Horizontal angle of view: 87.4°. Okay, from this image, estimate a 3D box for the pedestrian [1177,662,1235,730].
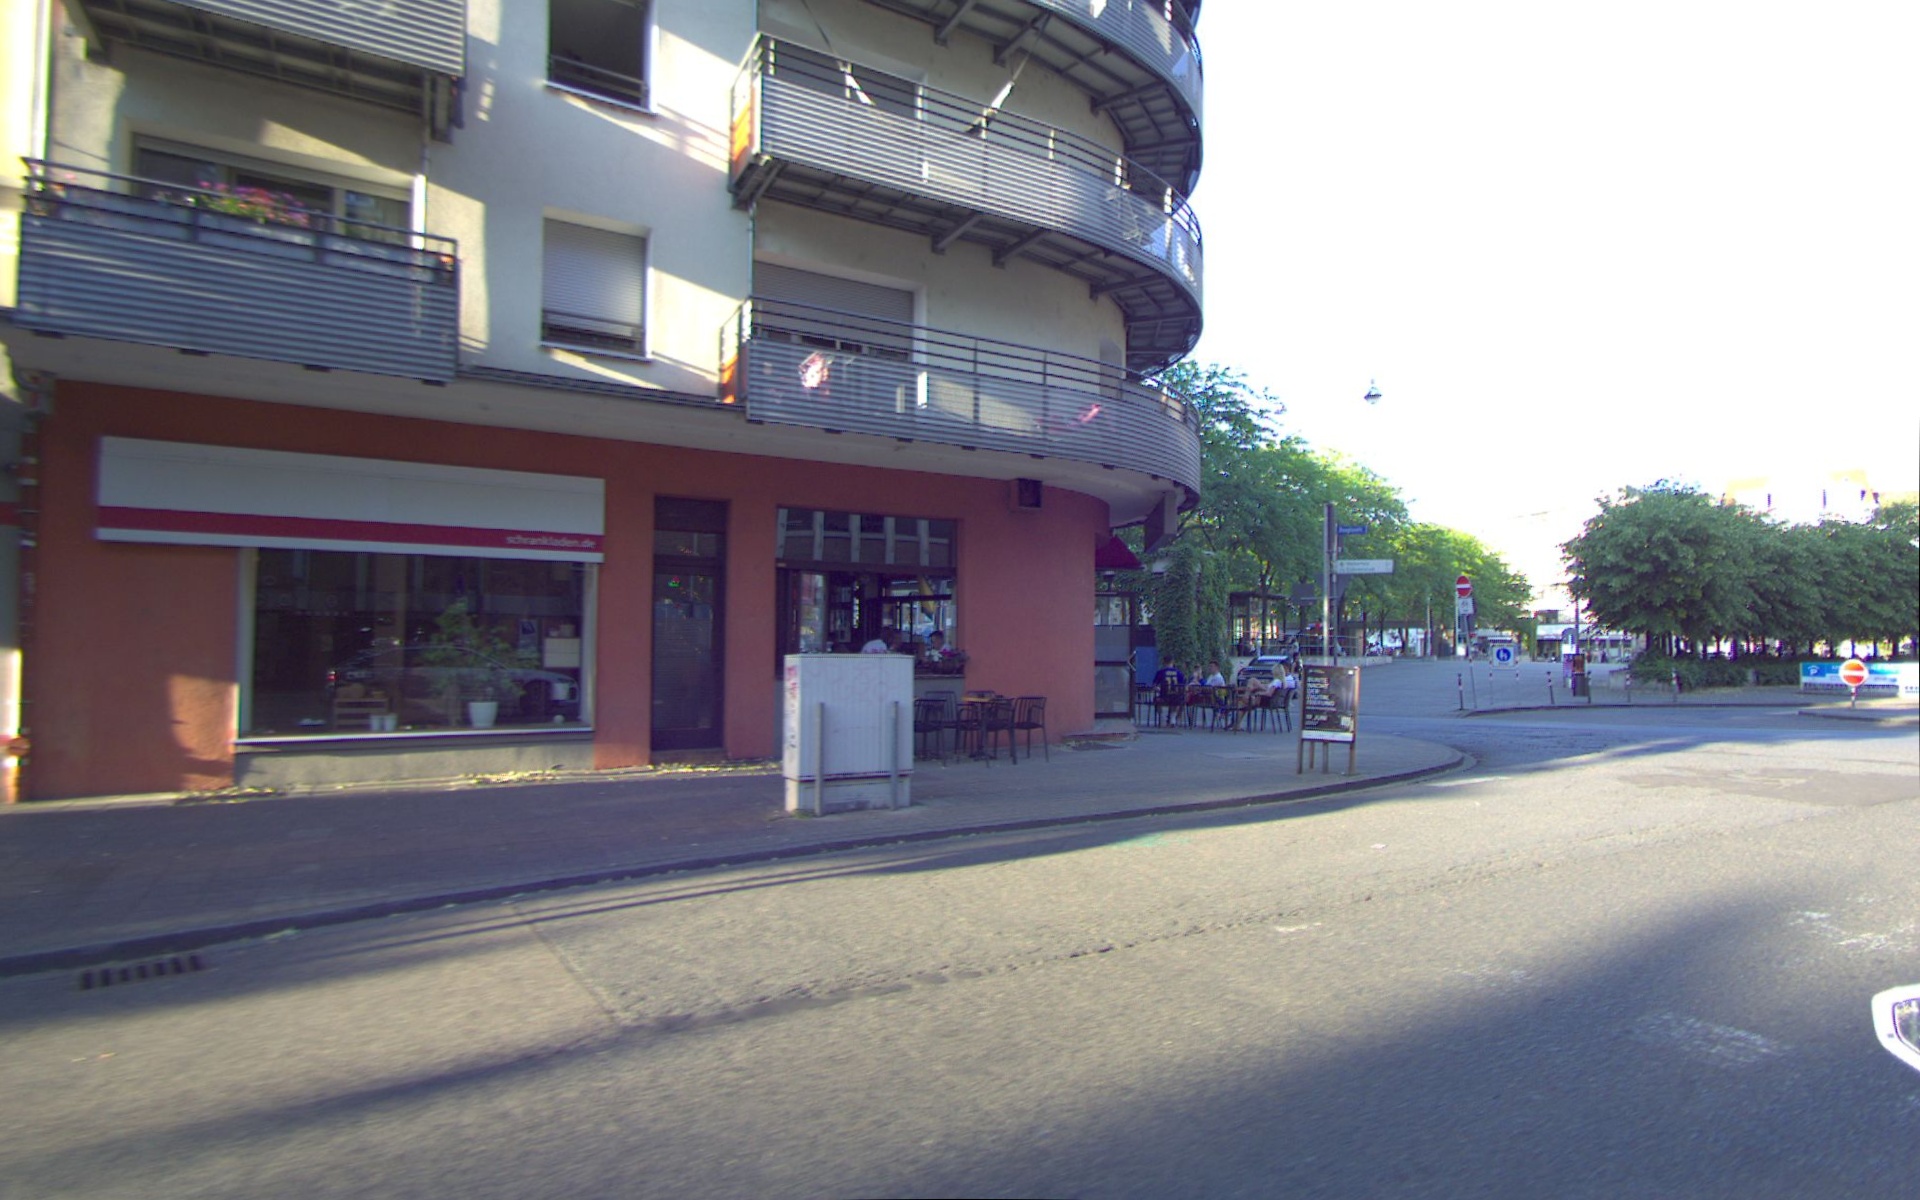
[{"bbox_3d":[4.739,1.835,19.366,0.821,1.263,0.717,4,-4,-36],"label":"pedestrian"}]

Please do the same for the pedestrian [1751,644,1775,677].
[{"bbox_3d":[40.070,3.027,50.123,0.558,1.616,0.791,1,-2,-10],"label":"pedestrian"}]

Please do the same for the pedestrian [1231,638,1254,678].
[{"bbox_3d":[11.617,2.396,41.344,0.679,1.607,0.767,-1,-4,37],"label":"pedestrian"}]

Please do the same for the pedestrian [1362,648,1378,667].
[{"bbox_3d":[23.302,3.261,57.059,0.704,1.072,0.609,-1,-3,36],"label":"pedestrian"}]

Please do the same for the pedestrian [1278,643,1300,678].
[{"bbox_3d":[15.037,2.761,45.900,0.778,1.607,0.652,-1,-4,36],"label":"pedestrian"}]

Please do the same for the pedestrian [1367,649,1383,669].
[{"bbox_3d":[23.853,3.385,57.767,0.704,1.134,0.609,-1,-3,36],"label":"pedestrian"}]

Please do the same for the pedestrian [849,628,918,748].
[{"bbox_3d":[-1.064,1.217,13.951,0.741,1.615,0.594,3,-4,-28],"label":"pedestrian"}]

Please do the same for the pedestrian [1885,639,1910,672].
[{"bbox_3d":[47.379,2.799,50.773,0.665,1.616,0.678,1,-2,-10],"label":"pedestrian"}]

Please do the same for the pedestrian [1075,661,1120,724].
[{"bbox_3d":[2.862,1.910,20.875,0.696,1.263,0.615,4,-4,-39],"label":"pedestrian"}]

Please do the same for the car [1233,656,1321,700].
[{"bbox_3d":[10.857,2.608,34.233,1.964,1.335,4.521,-2,-3,29],"label":"car"}]

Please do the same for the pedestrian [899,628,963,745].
[{"bbox_3d":[-0.420,1.236,14.374,0.693,1.615,0.594,3,-4,-28],"label":"pedestrian"}]

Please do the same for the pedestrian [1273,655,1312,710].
[{"bbox_3d":[9.766,2.415,29.542,0.886,1.587,0.765,-2,-3,35],"label":"pedestrian"}]

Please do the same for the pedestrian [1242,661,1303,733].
[{"bbox_3d":[5.822,1.791,18.715,0.742,1.289,0.820,4,-4,-38],"label":"pedestrian"}]

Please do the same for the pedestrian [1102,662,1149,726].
[{"bbox_3d":[3.357,1.903,20.362,0.696,1.263,0.615,4,-4,-39],"label":"pedestrian"}]

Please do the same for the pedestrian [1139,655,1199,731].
[{"bbox_3d":[3.914,1.733,18.811,0.821,1.365,0.741,4,-4,-36],"label":"pedestrian"}]

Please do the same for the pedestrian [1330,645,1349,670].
[{"bbox_3d":[19.852,3.018,52.580,0.778,1.296,0.652,-1,-4,36],"label":"pedestrian"}]

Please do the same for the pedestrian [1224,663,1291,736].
[{"bbox_3d":[5.380,1.778,18.155,0.761,1.258,0.891,4,-4,-38],"label":"pedestrian"}]

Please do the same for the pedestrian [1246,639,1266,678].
[{"bbox_3d":[12.530,2.479,42.562,0.612,1.607,0.699,-1,-4,37],"label":"pedestrian"}]

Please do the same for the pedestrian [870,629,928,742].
[{"bbox_3d":[-0.897,1.250,14.767,0.591,1.615,0.669,3,-4,-29],"label":"pedestrian"}]

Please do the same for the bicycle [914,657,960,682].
[{"bbox_3d":[-0.904,2.742,39.796,1.775,0.935,0.509,0,-2,-17],"label":"bicycle"}]
